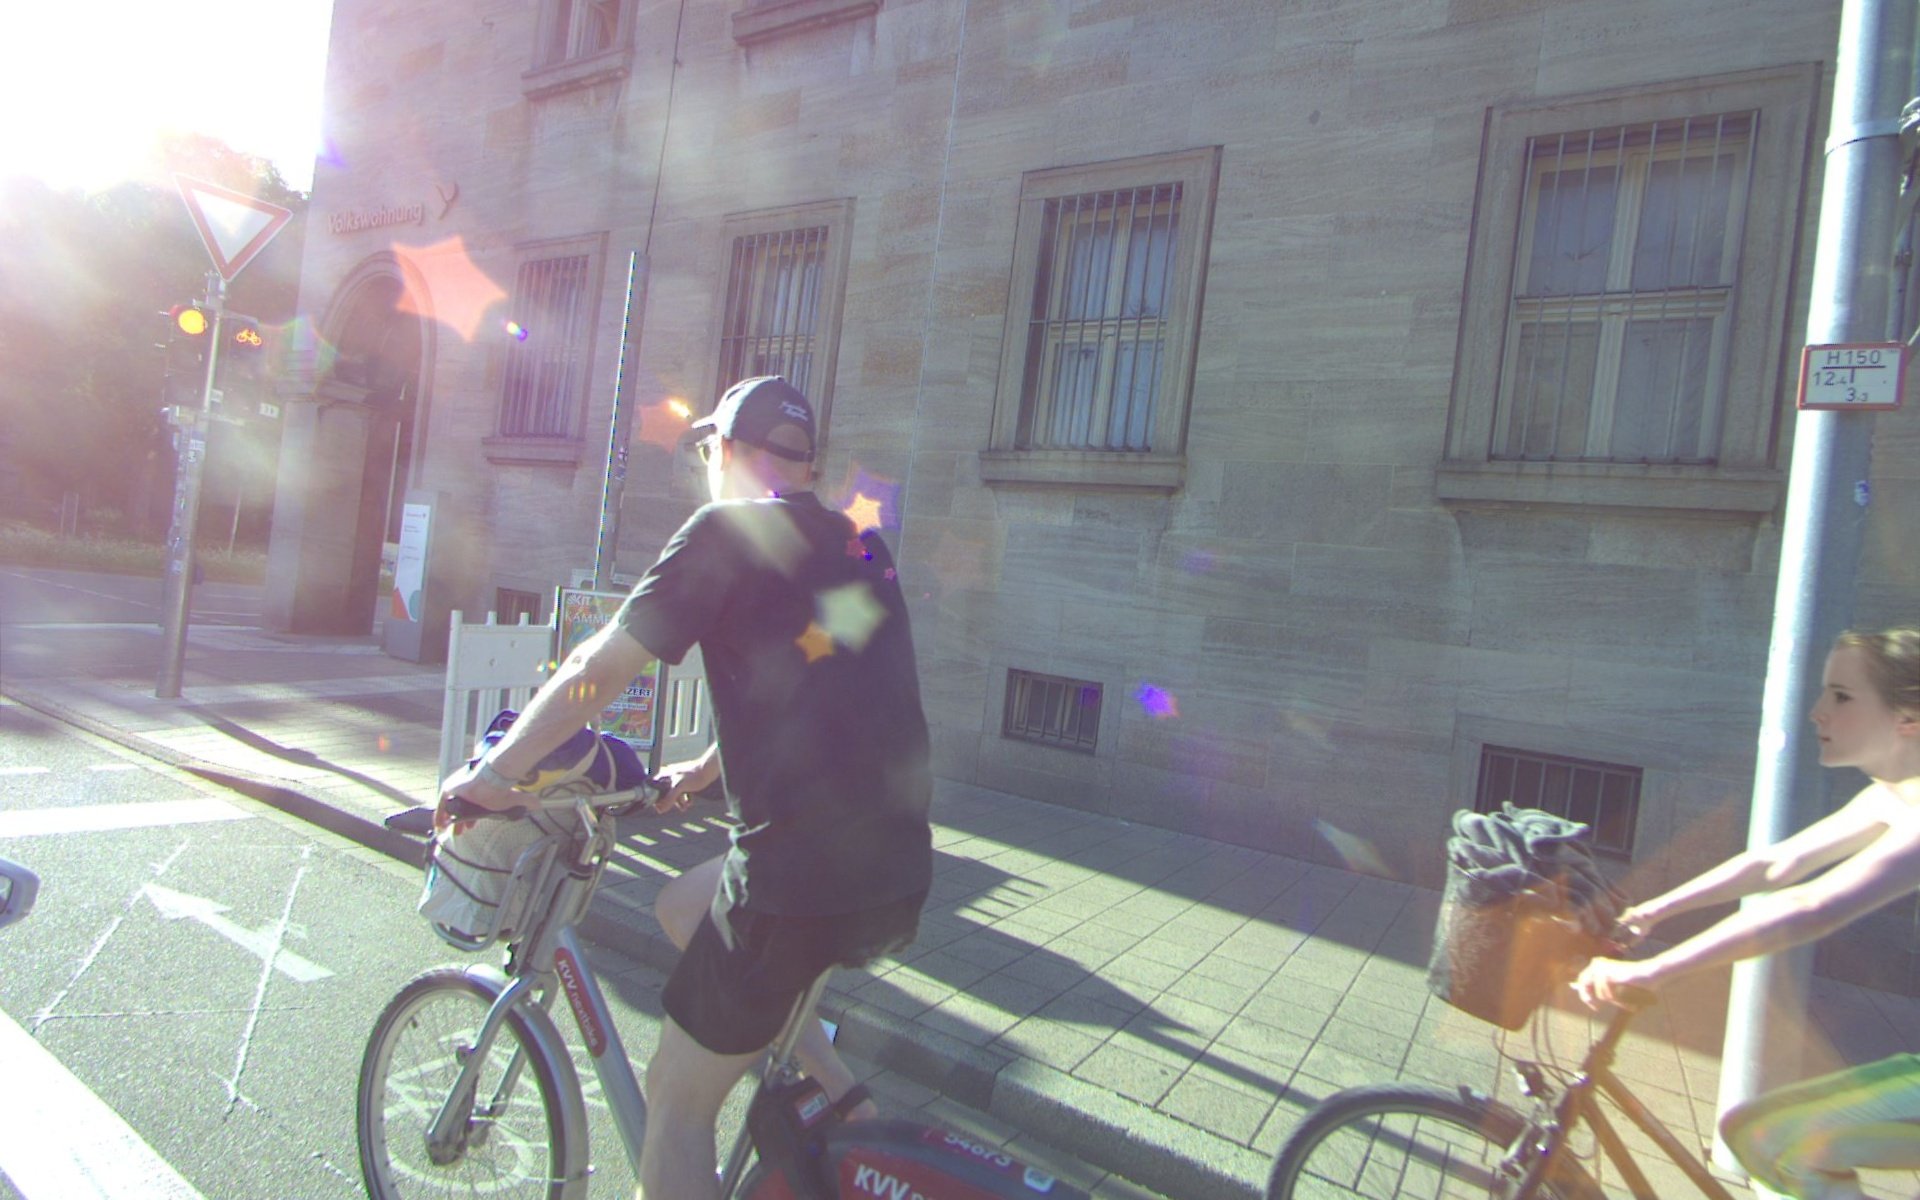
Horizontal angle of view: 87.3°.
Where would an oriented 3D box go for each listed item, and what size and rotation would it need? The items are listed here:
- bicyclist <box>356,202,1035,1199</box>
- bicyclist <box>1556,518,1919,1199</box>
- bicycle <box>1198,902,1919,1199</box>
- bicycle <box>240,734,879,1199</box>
[{"bbox_3d":[-0.418,0.373,1.652,0.646,1.698,0.670,7,0,34],"label":"bicyclist"},{"bbox_3d":[1.520,0.773,1.641,0.844,1.700,0.522,7,1,32],"label":"bicyclist"},{"bbox_3d":[1.397,1.252,1.682,1.919,0.887,0.427,8,1,35],"label":"bicycle"},{"bbox_3d":[-1.042,0.921,2.233,1.923,0.916,0.388,7,0,41],"label":"bicycle"}]
